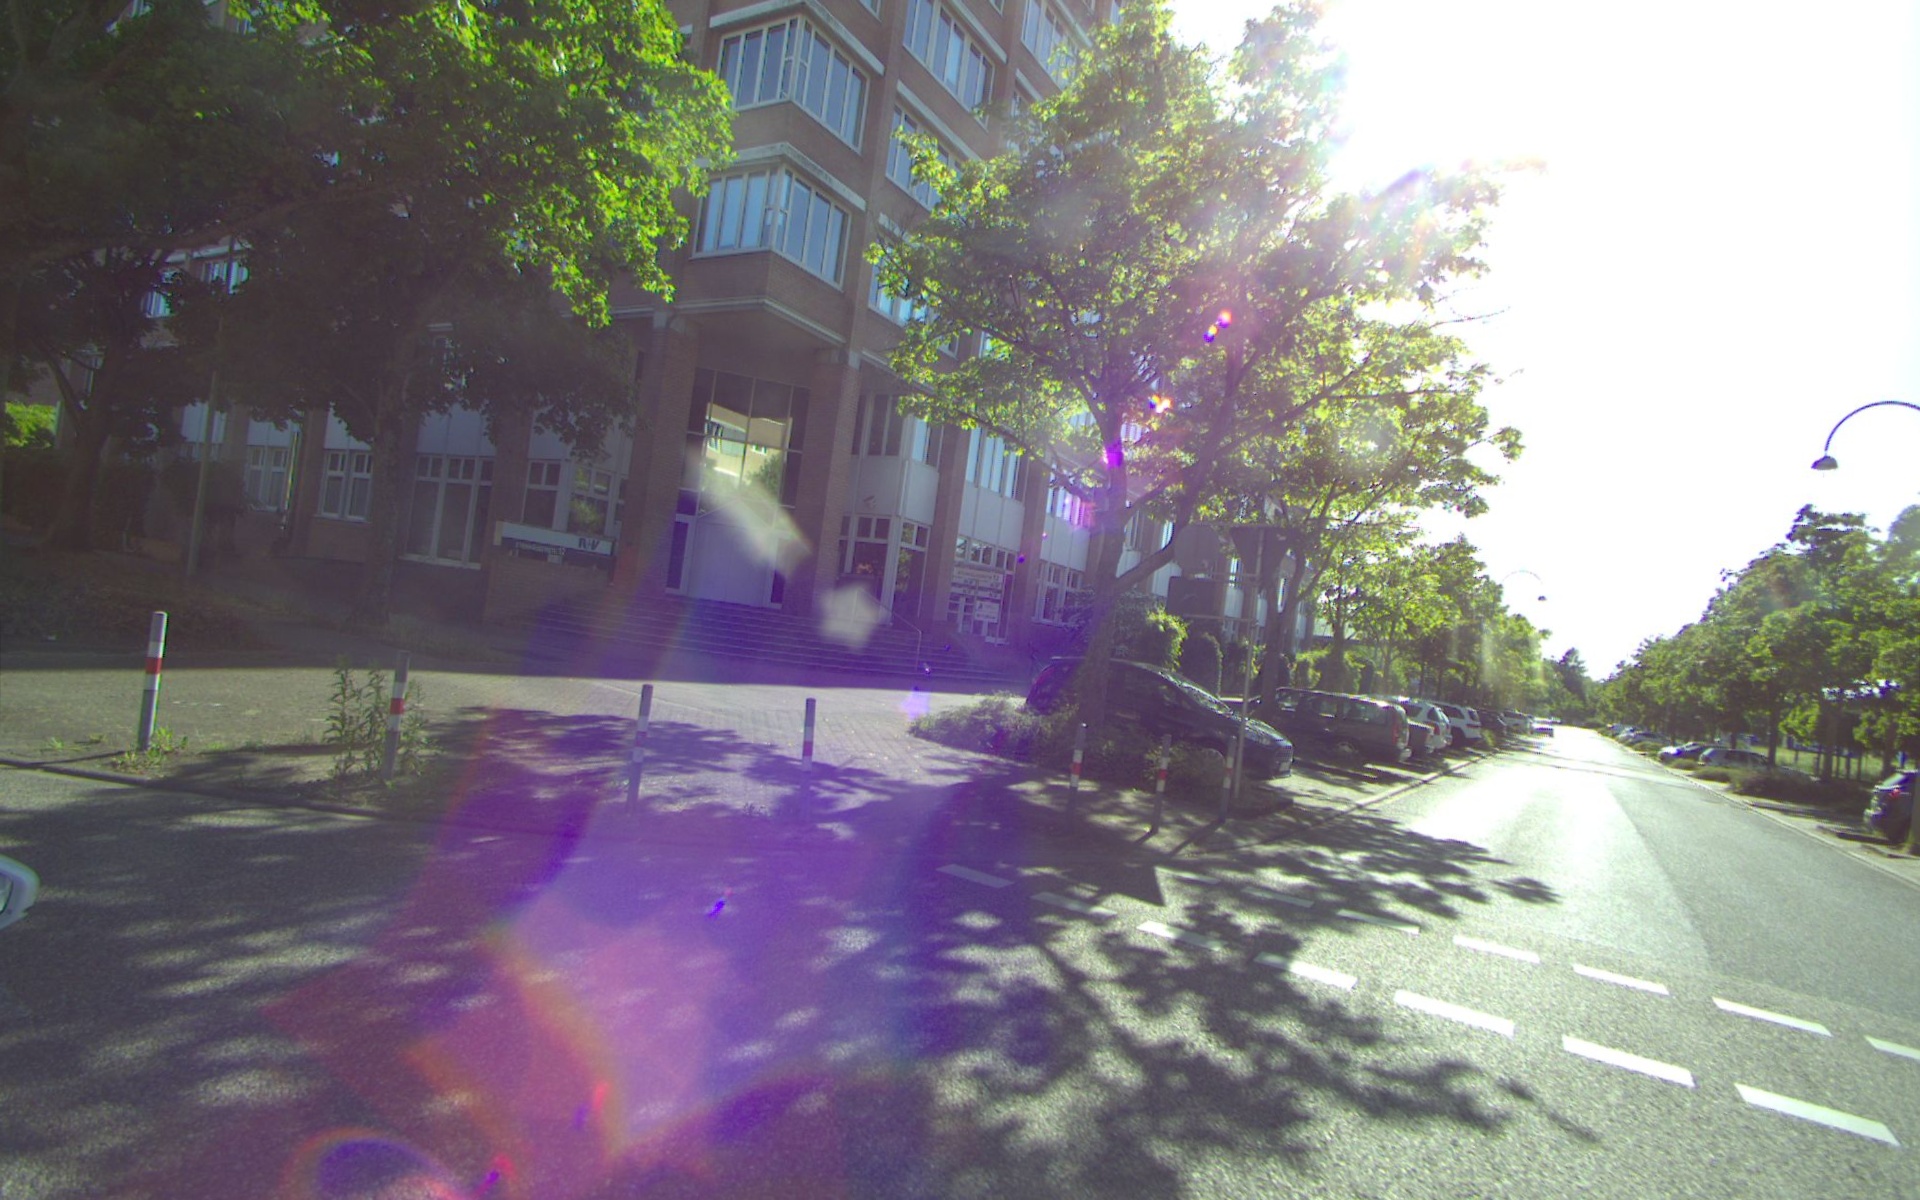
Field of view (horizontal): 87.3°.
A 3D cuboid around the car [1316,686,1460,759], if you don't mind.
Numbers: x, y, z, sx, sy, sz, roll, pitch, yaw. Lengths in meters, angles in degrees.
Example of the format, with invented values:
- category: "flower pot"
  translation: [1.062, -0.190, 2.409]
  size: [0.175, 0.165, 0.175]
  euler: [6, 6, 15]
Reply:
- category: "car"
  translation: [13.816, 3.918, 32.564]
  size: [3.933, 1.520, 1.534]
  euler: [10, 0, 32]

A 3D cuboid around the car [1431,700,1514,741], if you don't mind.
- category: "car"
  translation: [28.513, 6.682, 55.986]
  size: [3.844, 1.520, 1.534]
  euler: [10, 0, 32]

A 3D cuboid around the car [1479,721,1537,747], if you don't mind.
- category: "car"
  translation: [44.063, 10.765, 80.897]
  size: [3.844, 1.259, 1.534]
  euler: [10, 0, 32]

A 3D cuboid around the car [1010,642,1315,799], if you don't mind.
- category: "car"
  translation: [2.878, 1.665, 14.564]
  size: [3.852, 1.479, 1.655]
  euler: [8, -1, 32]

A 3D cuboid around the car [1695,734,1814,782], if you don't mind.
- category: "car"
  translation: [35.500, 7.052, 45.063]
  size: [3.842, 1.461, 1.535]
  euler: [6, -2, 29]

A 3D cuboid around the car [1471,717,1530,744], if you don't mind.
- category: "car"
  translation: [39.330, 9.484, 73.243]
  size: [3.569, 1.259, 1.420]
  euler: [10, 0, 32]

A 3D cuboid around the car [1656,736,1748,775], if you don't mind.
- category: "car"
  translation: [41.528, 8.677, 56.397]
  size: [3.842, 1.461, 1.535]
  euler: [6, -2, 29]

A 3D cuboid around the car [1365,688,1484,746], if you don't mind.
- category: "car"
  translation: [17.730, 4.447, 38.454]
  size: [3.845, 1.520, 1.534]
  euler: [7, -1, 32]

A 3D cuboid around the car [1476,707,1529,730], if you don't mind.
- category: "car"
  translation: [46.849, 10.225, 86.936]
  size: [3.843, 1.258, 1.535]
  euler: [8, -1, 31]

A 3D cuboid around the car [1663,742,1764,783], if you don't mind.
- category: "car"
  translation: [38.788, 8.358, 51.917]
  size: [3.842, 1.330, 1.535]
  euler: [7, -1, 29]

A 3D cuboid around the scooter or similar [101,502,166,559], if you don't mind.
- category: "scooter or similar"
  translation: [-22.520, -1.891, 27.411]
  size: [1.774, 1.340, 0.551]
  euler: [7, -2, 27]

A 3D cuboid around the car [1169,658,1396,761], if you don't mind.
- category: "car"
  translation: [6.862, 2.301, 21.603]
  size: [4.205, 1.478, 1.690]
  euler: [7, -1, 35]

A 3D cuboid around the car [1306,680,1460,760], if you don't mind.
- category: "car"
  translation: [12.806, 3.595, 30.545]
  size: [3.933, 1.583, 1.625]
  euler: [10, 0, 32]

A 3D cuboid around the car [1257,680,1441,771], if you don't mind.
- category: "car"
  translation: [9.641, 3.073, 24.983]
  size: [3.931, 1.383, 1.627]
  euler: [10, -1, 29]

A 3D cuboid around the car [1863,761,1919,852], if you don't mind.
- category: "car"
  translation: [19.781, 4.118, 18.932]
  size: [3.942, 1.602, 1.700]
  euler: [3, -4, 38]
